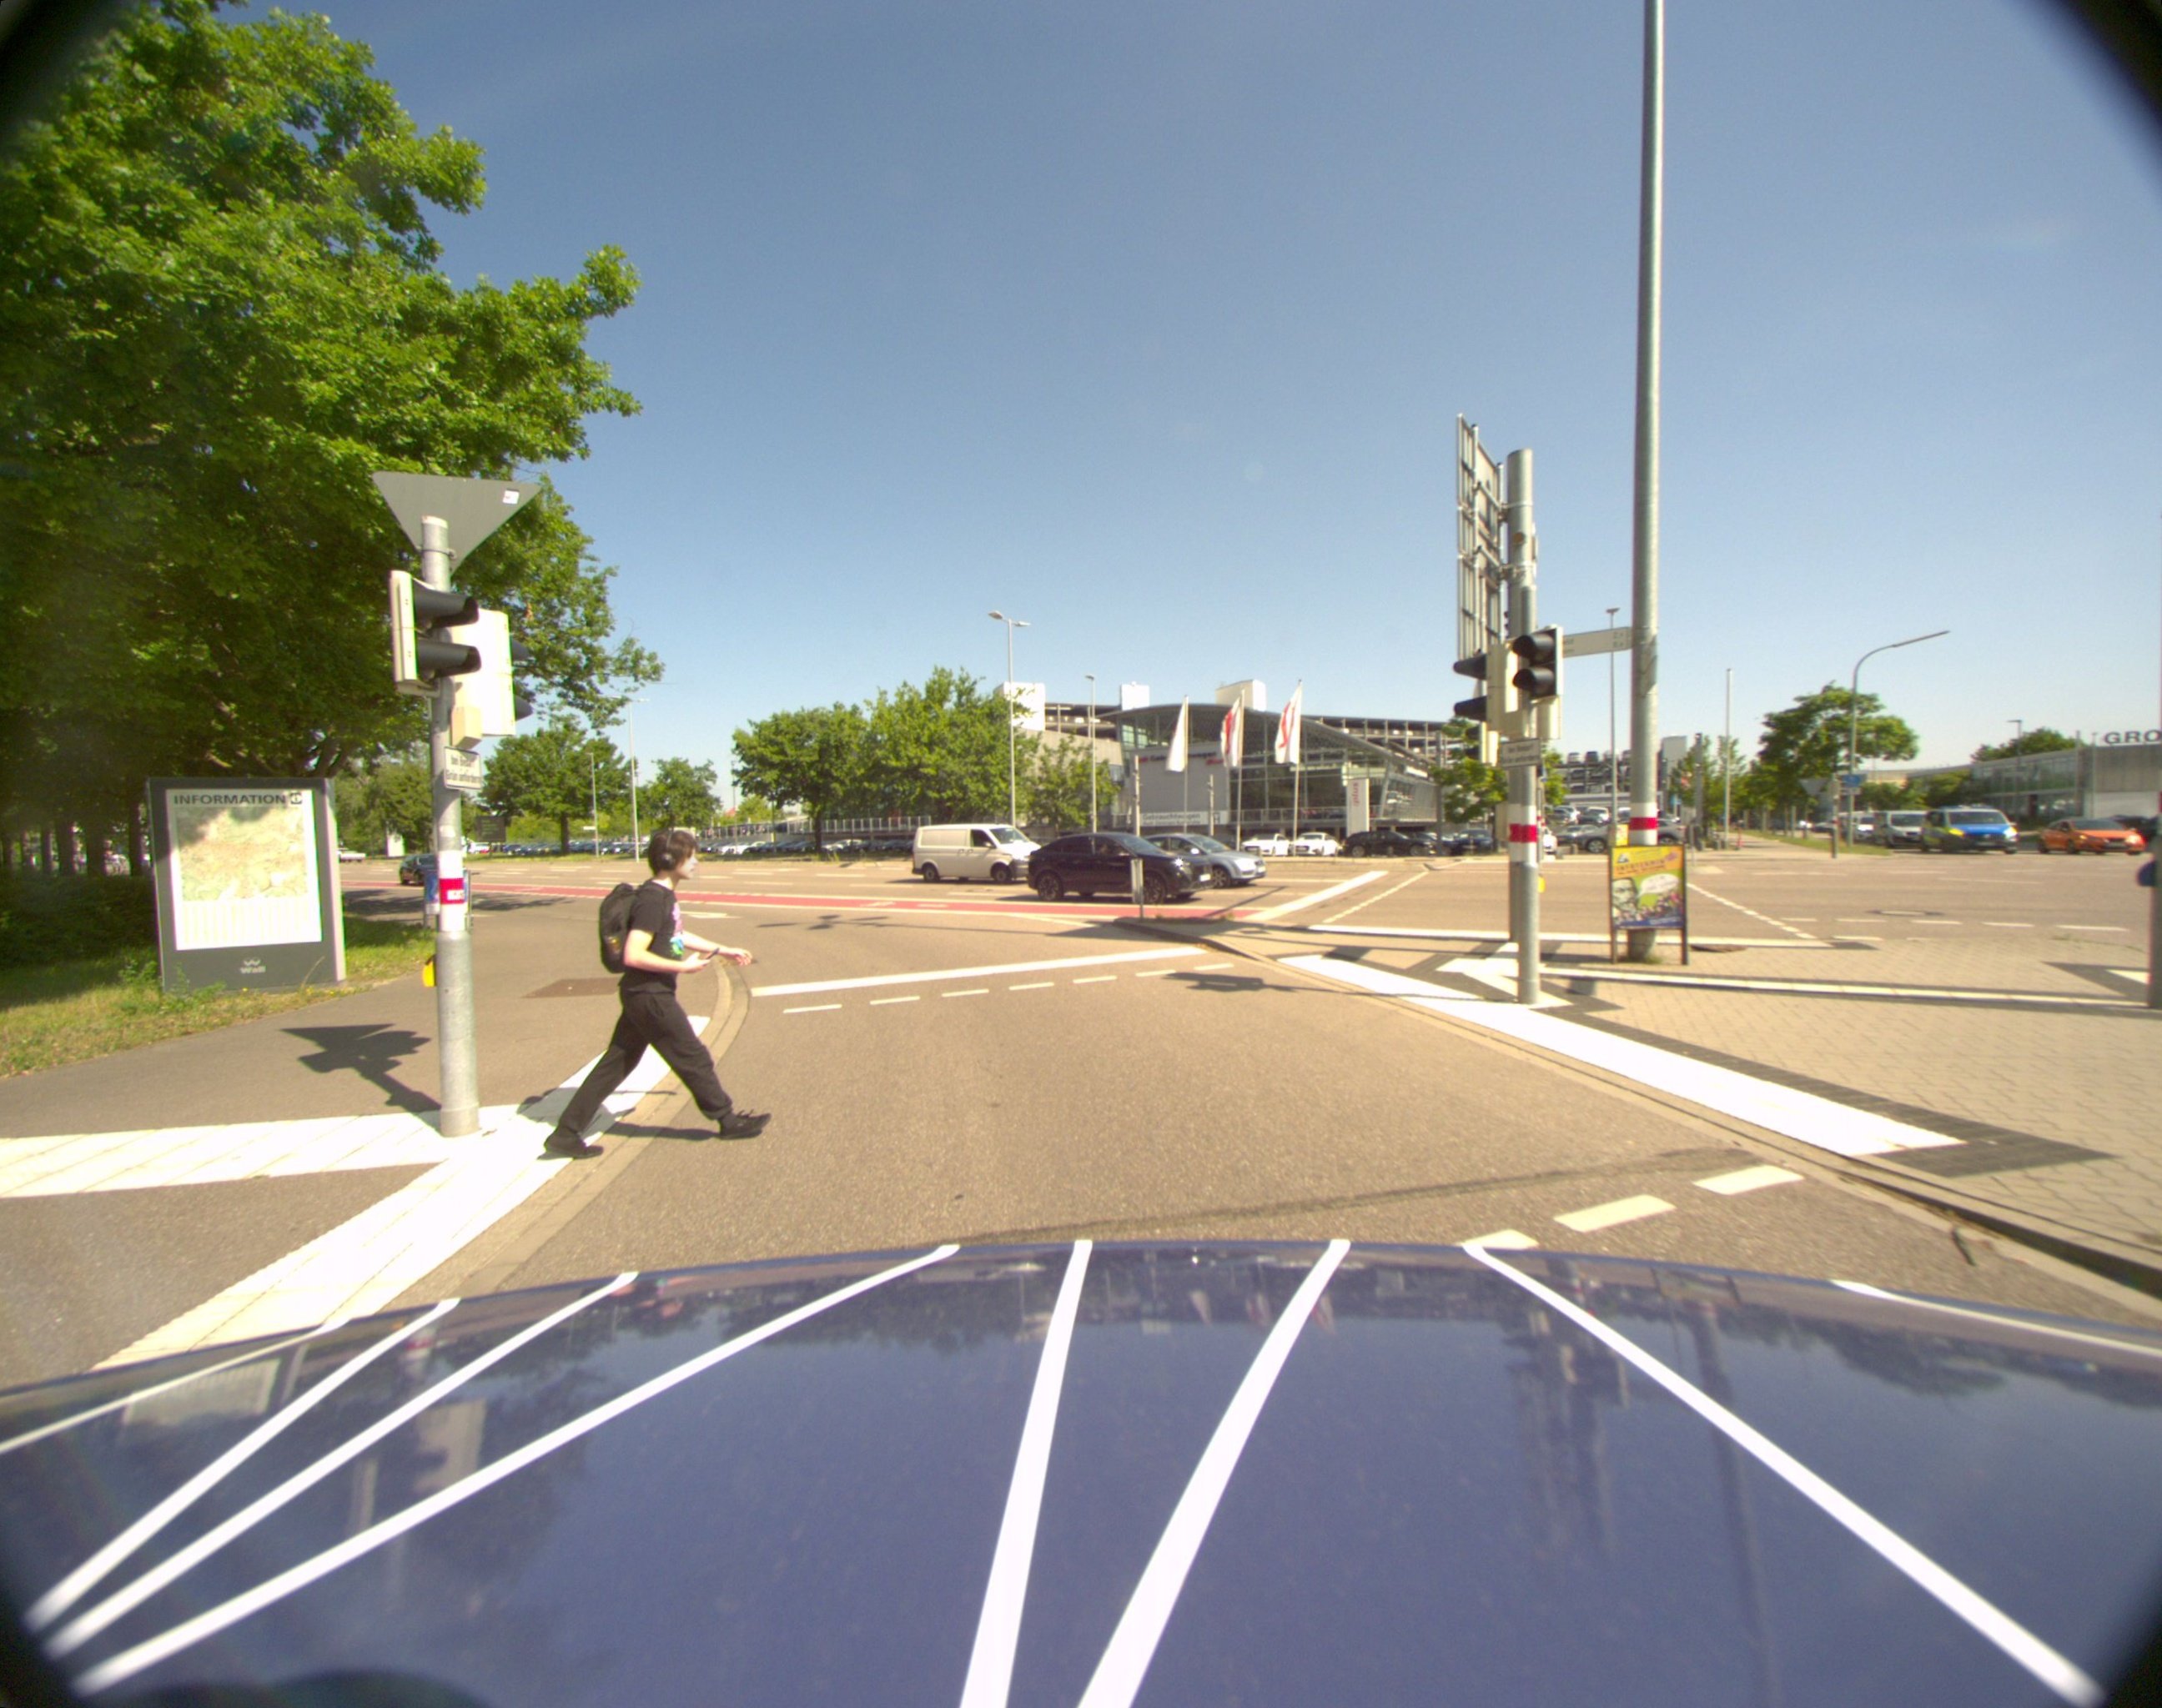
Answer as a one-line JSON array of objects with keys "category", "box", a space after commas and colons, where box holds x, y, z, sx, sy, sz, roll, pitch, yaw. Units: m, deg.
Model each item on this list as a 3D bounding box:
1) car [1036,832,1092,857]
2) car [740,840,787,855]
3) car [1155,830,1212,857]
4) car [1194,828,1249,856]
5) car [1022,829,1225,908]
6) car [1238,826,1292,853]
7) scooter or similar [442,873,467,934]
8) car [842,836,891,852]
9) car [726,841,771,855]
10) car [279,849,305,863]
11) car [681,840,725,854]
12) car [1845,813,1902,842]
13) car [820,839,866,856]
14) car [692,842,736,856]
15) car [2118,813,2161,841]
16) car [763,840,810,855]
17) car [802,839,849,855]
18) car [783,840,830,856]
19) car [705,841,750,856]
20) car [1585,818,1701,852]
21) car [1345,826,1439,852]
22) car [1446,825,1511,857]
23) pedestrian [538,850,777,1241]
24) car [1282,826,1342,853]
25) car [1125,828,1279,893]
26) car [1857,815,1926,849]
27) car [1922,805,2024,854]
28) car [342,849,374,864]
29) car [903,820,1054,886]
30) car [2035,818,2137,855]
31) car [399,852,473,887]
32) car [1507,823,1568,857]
[{"category": "car", "box": [-1.093, -0.647, 50.027, 1.782, 1.565, 3.895, 0, 2, 32]}, {"category": "car", "box": [-28.325, -0.564, 67.830, 1.591, 1.242, 3.423, 0, 2, 38]}, {"category": "car", "box": [6.241, -0.666, 45.972, 1.925, 1.553, 3.895, 0, 2, 32]}, {"category": "car", "box": [8.230, -0.738, 44.285, 1.883, 1.538, 3.895, 0, 2, 32]}, {"category": "car", "box": [0.945, 0.332, 18.009, 4.491, 1.618, 1.718, -1, 3, 33]}, {"category": "car", "box": [10.414, -0.845, 42.821, 1.782, 1.462, 3.895, 0, 2, 32]}, {"category": "scooter or similar", "box": [-12.963, 0.998, 15.715, 0.256, 1.175, 1.386, -3, 3, -44]}, {"category": "car", "box": [-17.204, -0.795, 61.079, 1.591, 1.242, 3.423, 0, 2, 38]}, {"category": "car", "box": [-30.316, -0.553, 69.383, 1.591, 1.242, 3.423, 0, 2, 38]}, {"category": "car", "box": [-116.939, 0.327, 112.595, 3.988, 2.003, 2.003, 0, 3, 37]}, {"category": "car", "box": [-36.600, -0.674, 73.674, 1.591, 1.242, 3.423, 0, 2, 38]}, {"category": "car", "box": [45.197, -1.537, 43.421, 1.909, 1.485, 3.872, 0, 3, 41]}, {"category": "car", "box": [-19.497, -0.554, 62.302, 1.636, 1.317, 3.177, 0, 2, 38]}, {"category": "car", "box": [-34.879, -0.510, 72.220, 1.591, 1.242, 3.423, 0, 2, 38]}, {"category": "car", "box": [62.893, -1.548, 43.540, 2.003, 1.605, 3.989, -2, 2, -35]}, {"category": "car", "box": [-25.809, -0.593, 66.617, 1.591, 1.242, 3.423, 0, 2, 38]}, {"category": "car", "box": [-21.316, -0.625, 63.510, 1.591, 1.242, 3.423, 0, 2, 38]}, {"category": "car", "box": [-23.302, -0.532, 64.577, 1.591, 1.242, 3.423, 0, 2, 39]}, {"category": "car", "box": [-32.895, -0.525, 70.812, 1.591, 1.242, 3.423, 0, 2, 38]}, {"category": "car", "box": [27.567, -0.906, 37.449, 4.469, 1.578, 1.983, 0, 2, 36]}, {"category": "car", "box": [16.341, -0.780, 39.979, 4.339, 1.342, 1.825, 0, 2, 33]}, {"category": "car", "box": [19.443, -0.646, 37.087, 1.994, 1.452, 4.008, 0, 2, 39]}, {"category": "pedestrian", "box": [-2.206, 0.881, 4.017, 0.961, 1.770, 0.704, -2, 3, -31]}, {"category": "car", "box": [12.670, -0.812, 41.504, 1.999, 1.414, 4.121, 0, 2, 34]}, {"category": "car", "box": [3.321, 0.141, 21.136, 3.819, 1.604, 1.763, 0, 3, 40]}, {"category": "car", "box": [40.089, -1.090, 37.673, 1.663, 1.548, 3.861, 0, 3, 36]}, {"category": "car", "box": [36.950, -1.011, 31.627, 2.180, 1.898, 4.739, 1, 2, 43]}, {"category": "car", "box": [-88.642, 0.296, 93.140, 4.500, 1.666, 2.173, 0, 3, 39]}, {"category": "car", "box": [-3.462, -0.050, 25.262, 4.986, 1.997, 1.744, 0, 3, 33]}, {"category": "car", "box": [39.238, -0.717, 29.774, 1.735, 1.356, 3.873, 1, 2, 43]}, {"category": "car", "box": [-30.448, 0.680, 35.825, 4.226, 1.457, 1.775, 1, 4, 39]}, {"category": "car", "box": [21.556, -0.680, 35.839, 1.883, 1.453, 4.007, 0, 3, 39]}]
